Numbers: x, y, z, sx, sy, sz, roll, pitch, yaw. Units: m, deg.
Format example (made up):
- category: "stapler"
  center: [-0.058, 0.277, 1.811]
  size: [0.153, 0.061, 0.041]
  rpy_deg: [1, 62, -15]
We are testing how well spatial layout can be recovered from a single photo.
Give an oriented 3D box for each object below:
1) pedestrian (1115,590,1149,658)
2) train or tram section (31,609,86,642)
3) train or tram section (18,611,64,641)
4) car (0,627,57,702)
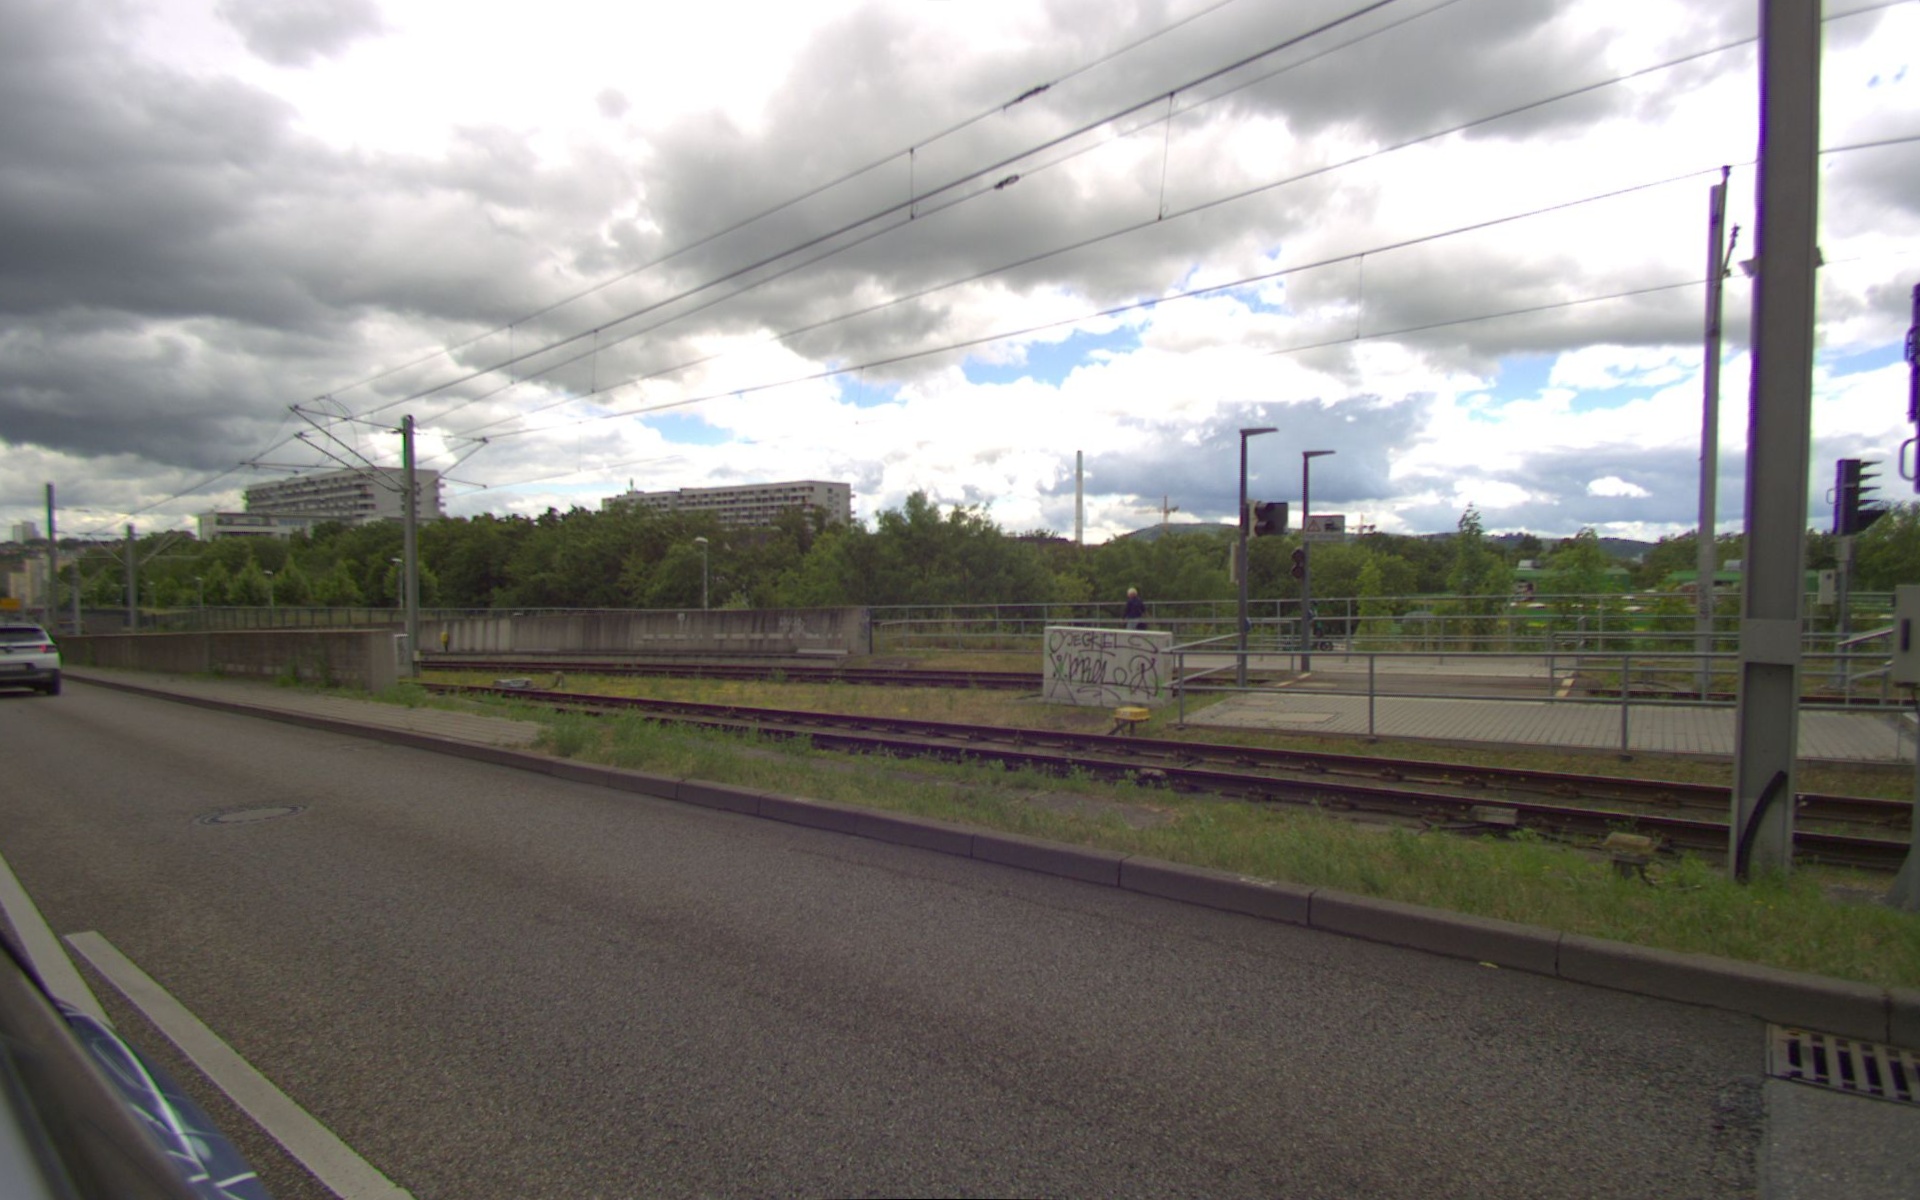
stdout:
- category: "pedestrian"
  center: [4.238, 0.586, 24.972]
  size: [0.645, 1.637, 0.502]
  rpy_deg: [-2, -1, 42]
- category: "train or tram section"
  center: [-95.056, 2.696, 106.529]
  size: [18.476, 3.218, 2.750]
  rpy_deg: [-2, -1, 43]
- category: "train or tram section"
  center: [-108.420, 3.064, 119.293]
  size: [18.477, 3.218, 2.750]
  rpy_deg: [-2, -1, 44]
- category: "car"
  center: [-21.090, 1.377, 22.149]
  size: [3.745, 1.533, 1.697]
  rpy_deg: [-2, -1, 44]
